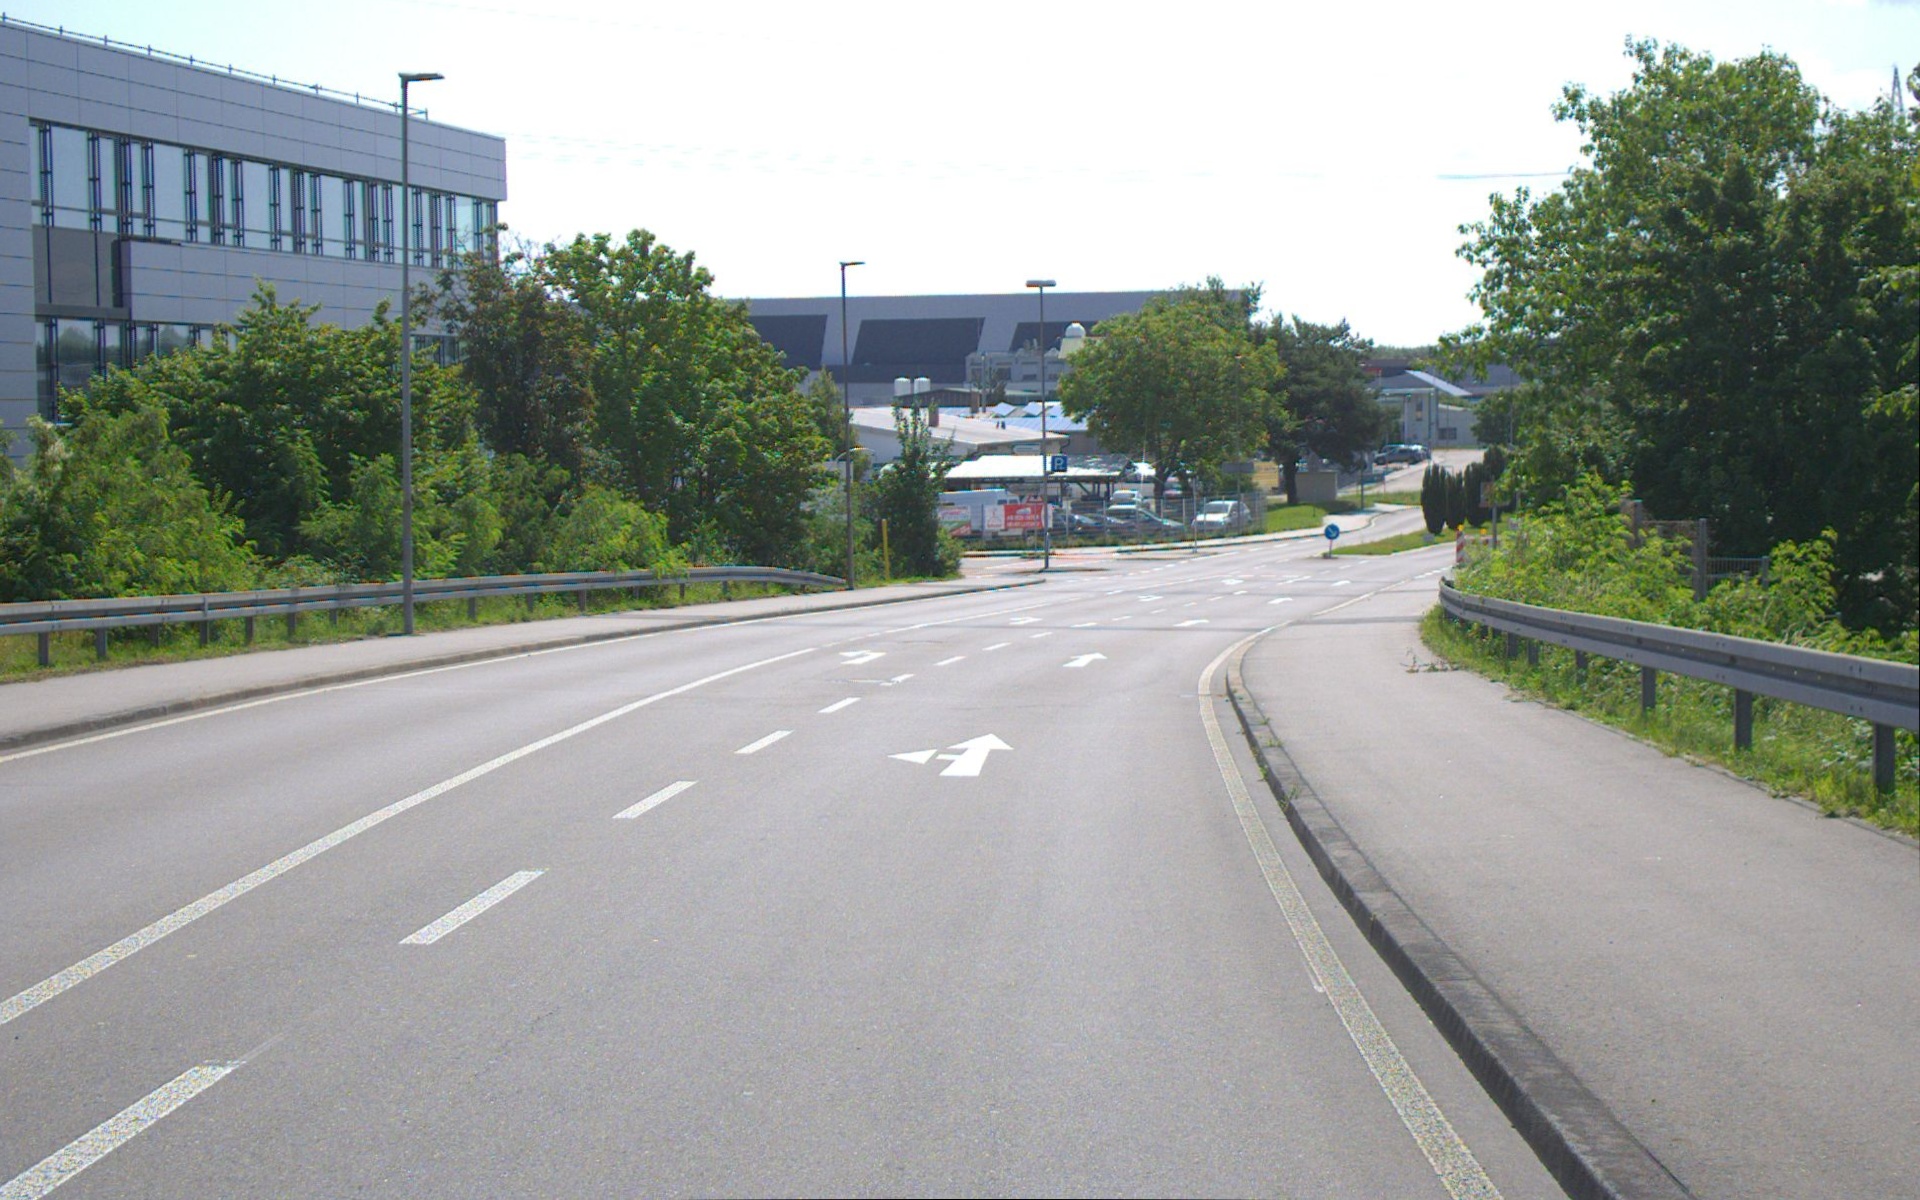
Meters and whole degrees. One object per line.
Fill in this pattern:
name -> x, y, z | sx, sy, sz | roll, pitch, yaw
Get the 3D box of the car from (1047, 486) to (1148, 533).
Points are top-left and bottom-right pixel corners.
car -> 6.027, -4.002, 150.871 | 3.996, 1.897, 1.996 | 3, 5, 38

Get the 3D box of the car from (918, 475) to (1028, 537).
car -> 0.544, -3.973, 144.898 | 4.361, 2.599, 1.995 | 1, 2, 40

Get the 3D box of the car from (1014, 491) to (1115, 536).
car -> 4.485, -3.727, 148.072 | 3.997, 1.774, 1.996 | 3, 5, 40

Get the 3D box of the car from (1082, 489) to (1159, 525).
car -> 8.506, -4.951, 182.614 | 3.987, 1.843, 1.835 | 0, 2, 0
